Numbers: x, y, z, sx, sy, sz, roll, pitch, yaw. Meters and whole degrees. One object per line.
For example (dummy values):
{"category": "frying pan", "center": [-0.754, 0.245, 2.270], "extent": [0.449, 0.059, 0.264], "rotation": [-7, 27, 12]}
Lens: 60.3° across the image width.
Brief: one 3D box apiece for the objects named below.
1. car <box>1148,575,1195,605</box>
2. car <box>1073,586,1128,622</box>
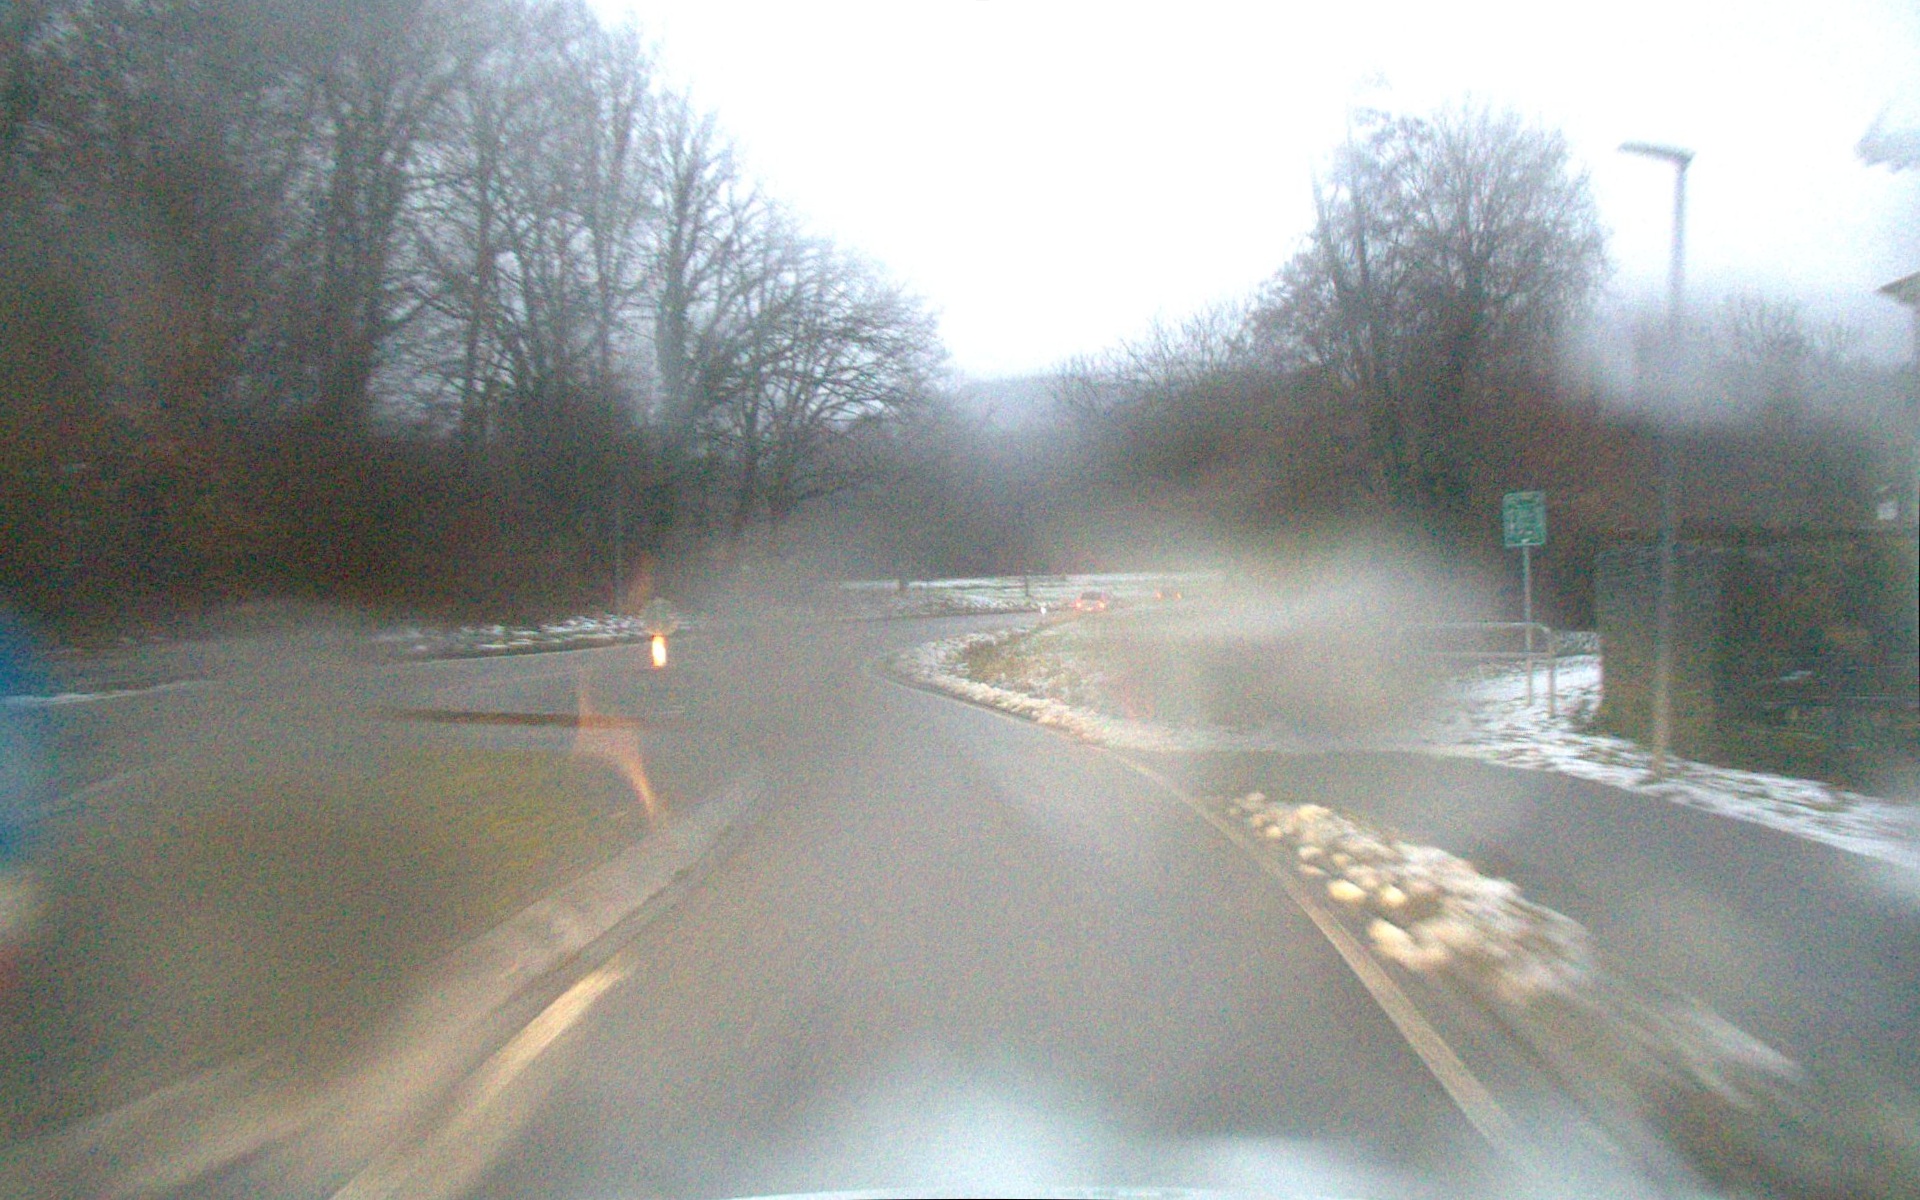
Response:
{"category": "car", "center": [12.701, -0.599, 99.108], "extent": [1.893, 1.705, 4.000], "rotation": [0, 0, 21]}
{"category": "car", "center": [7.404, 0.180, 86.888], "extent": [1.893, 1.812, 4.001], "rotation": [0, 0, 20]}
